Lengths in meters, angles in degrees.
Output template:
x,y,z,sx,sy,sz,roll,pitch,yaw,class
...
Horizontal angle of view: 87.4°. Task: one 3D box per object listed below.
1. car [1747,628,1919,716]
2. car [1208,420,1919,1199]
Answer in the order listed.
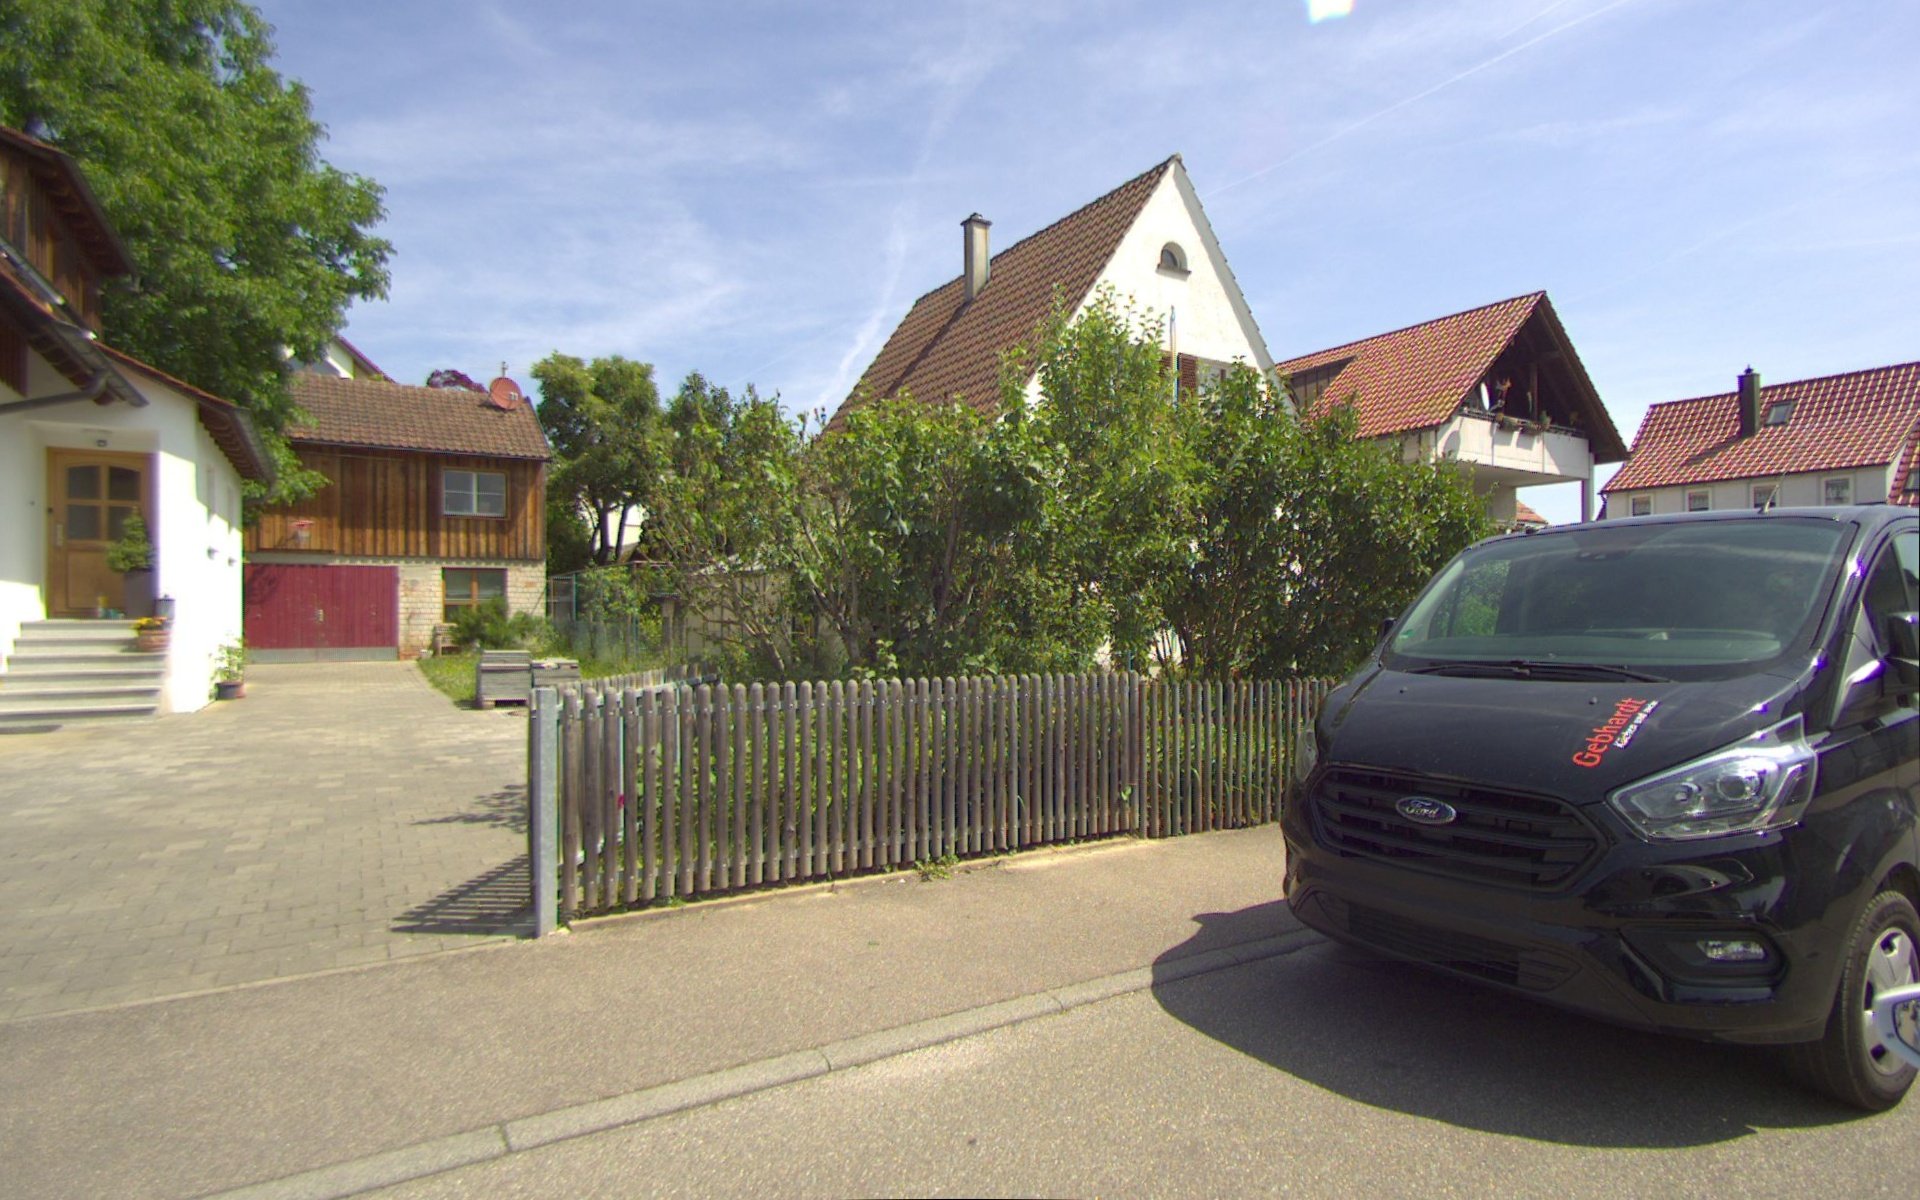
x,y,z,sx,sy,sz,roll,pitch,yaw,class
16.948,1.260,18.314,4.488,1.451,1.827,1,-1,-16,car
3.487,0.597,4.611,4.646,1.977,1.957,1,-2,-33,car
